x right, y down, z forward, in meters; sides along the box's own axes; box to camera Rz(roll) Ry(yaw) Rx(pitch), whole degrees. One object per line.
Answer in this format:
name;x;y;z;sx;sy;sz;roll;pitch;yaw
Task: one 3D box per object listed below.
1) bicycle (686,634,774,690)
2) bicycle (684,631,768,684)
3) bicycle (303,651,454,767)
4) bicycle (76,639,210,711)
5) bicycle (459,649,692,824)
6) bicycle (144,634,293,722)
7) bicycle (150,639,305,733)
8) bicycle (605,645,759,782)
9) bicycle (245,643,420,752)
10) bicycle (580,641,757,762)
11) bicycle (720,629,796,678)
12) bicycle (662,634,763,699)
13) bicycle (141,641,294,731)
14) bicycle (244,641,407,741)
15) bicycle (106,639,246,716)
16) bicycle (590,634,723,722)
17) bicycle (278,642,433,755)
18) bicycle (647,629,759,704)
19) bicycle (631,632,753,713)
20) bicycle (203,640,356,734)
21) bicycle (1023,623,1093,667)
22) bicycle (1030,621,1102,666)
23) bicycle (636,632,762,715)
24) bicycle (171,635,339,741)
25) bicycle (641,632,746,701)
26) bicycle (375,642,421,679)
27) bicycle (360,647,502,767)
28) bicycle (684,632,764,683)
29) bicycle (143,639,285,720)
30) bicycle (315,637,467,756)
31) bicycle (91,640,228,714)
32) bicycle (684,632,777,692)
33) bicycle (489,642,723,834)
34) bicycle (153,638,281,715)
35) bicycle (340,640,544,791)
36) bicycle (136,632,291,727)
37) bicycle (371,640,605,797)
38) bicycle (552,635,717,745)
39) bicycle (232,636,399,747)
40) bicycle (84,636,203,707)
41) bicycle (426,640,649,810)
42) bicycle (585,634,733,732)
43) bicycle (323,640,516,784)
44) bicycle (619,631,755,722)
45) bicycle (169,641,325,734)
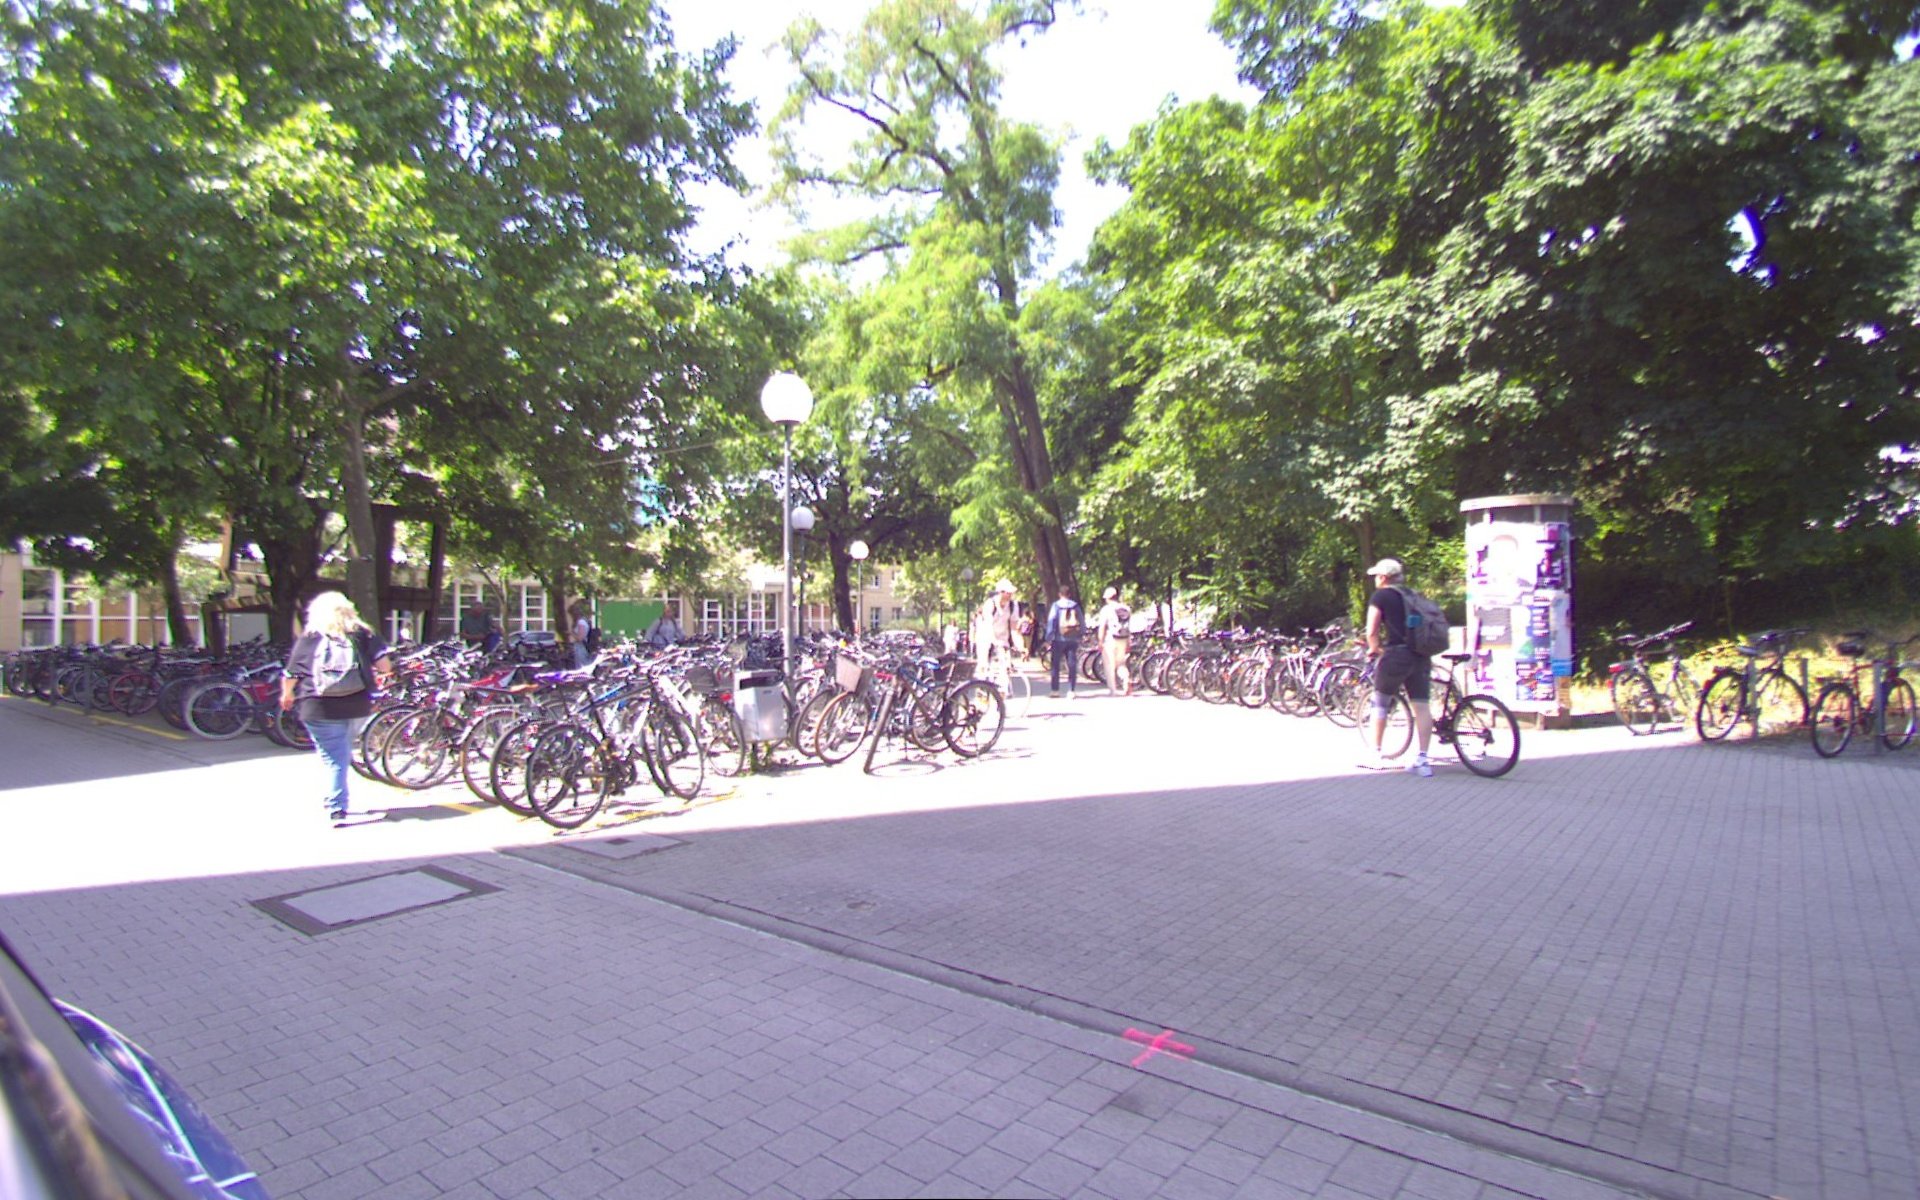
bicycle;-4.639;1.249;20.449;1.677;1.092;0.474;-1;-1;2
bicycle;-4.990;1.220;21.644;1.677;1.092;0.474;-1;-1;2
bicycle;-5.897;1.068;10.371;0.468;1.026;1.697;-1;-1;4
bicycle;-13.910;1.254;17.284;1.711;1.116;0.576;-1;-1;-32
bicycle;-2.832;0.955;7.630;0.473;1.099;1.680;-2;-1;33
bicycle;-10.985;1.129;15.044;0.496;1.187;1.718;-2;-1;38
bicycle;-9.958;1.136;13.827;0.472;1.154;1.684;-1;-1;27
bicycle;-2.524;0.965;9.083;1.699;1.092;0.501;-2;-1;43
bicycle;-7.283;1.095;11.827;0.580;1.116;1.683;-2;-1;28
bicycle;-2.945;0.997;10.331;1.672;1.092;0.475;-1;-1;-38
bicycle;-4.761;1.258;23.912;1.677;1.092;0.474;-1;-1;2
bicycle;-4.390;1.171;18.000;1.673;1.092;0.475;-1;-1;-6
bicycle;-10.350;1.166;14.176;0.495;1.116;1.683;-2;-1;29
bicycle;-7.938;1.104;12.733;0.563;1.116;1.683;-2;-1;28
bicycle;-12.687;1.226;16.425;0.496;1.135;1.720;-2;-1;34
bicycle;-4.070;1.023;13.576;1.670;1.092;0.475;-1;-1;-19
bicycle;-6.723;1.059;11.359;0.469;1.116;1.693;-1;-1;12
bicycle;-4.025;1.029;15.889;1.671;1.092;0.475;-1;-1;-15
bicycle;-3.886;1.032;14.713;1.671;1.092;0.475;-1;-1;-15
bicycle;-9.088;1.131;13.582;0.472;1.116;1.683;-2;-1;28
bicycle;2.597;1.180;26.945;1.749;1.118;0.518;-1;-1;-9
bicycle;2.731;1.117;26.185;1.749;1.118;0.518;-1;-1;-9
bicycle;-3.674;1.017;14.274;1.671;1.092;0.475;-1;-1;-15
bicycle;-8.908;1.077;12.856;0.535;1.207;1.682;-2;-1;31
bicycle;-4.447;1.097;16.922;1.671;1.092;0.475;-1;-1;-15
bicycle;-18.980;2.025;34.201;0.792;1.181;1.890;-1;-1;-11
bicycle;-5.393;1.054;10.433;0.468;1.070;1.697;-1;-1;4
bicycle;-5.269;1.276;22.611;1.677;1.092;0.474;-1;-1;2
bicycle;-11.438;1.196;15.579;0.494;1.116;1.725;-1;-1;27
bicycle;-6.273;1.027;11.260;0.469;1.166;1.693;-1;-1;12
bicycle;-13.218;1.242;16.753;0.496;1.116;1.718;-2;-1;39
bicycle;-4.355;1.167;19.241;1.673;1.092;0.475;-1;-1;-6
bicycle;-2.487;0.915;7.312;0.472;1.168;1.682;-2;-1;30
bicycle;-11.936;1.203;16.318;0.492;1.116;1.732;-1;-1;15
bicycle;-4.608;0.978;9.126;0.472;1.177;1.684;-1;-1;26
bicycle;-10.677;1.101;14.535;0.495;1.245;1.722;-2;-1;32
bicycle;-4.027;0.961;8.715;1.752;1.177;0.475;-1;-1;-38
bicycle;-3.589;0.967;11.240;1.672;1.092;0.475;-1;-1;-37
bicycle;-7.695;1.051;12.159;0.472;1.196;1.683;-2;-1;28
bicycle;-14.325;1.236;17.810;1.603;1.152;0.498;-1;-1;-37
bicycle;-3.358;0.940;8.189;0.473;1.177;1.680;-2;-1;33
bicycle;-3.623;0.987;12.248;1.671;1.092;0.475;-1;-1;-15
bicycle;-5.007;0.988;9.494;0.471;1.177;1.687;-1;-1;22
bicycle;-3.568;0.976;13.225;1.670;1.092;0.475;-1;-1;-19
bicycle;-9.543;1.137;13.613;0.472;1.116;1.684;-1;-1;27
